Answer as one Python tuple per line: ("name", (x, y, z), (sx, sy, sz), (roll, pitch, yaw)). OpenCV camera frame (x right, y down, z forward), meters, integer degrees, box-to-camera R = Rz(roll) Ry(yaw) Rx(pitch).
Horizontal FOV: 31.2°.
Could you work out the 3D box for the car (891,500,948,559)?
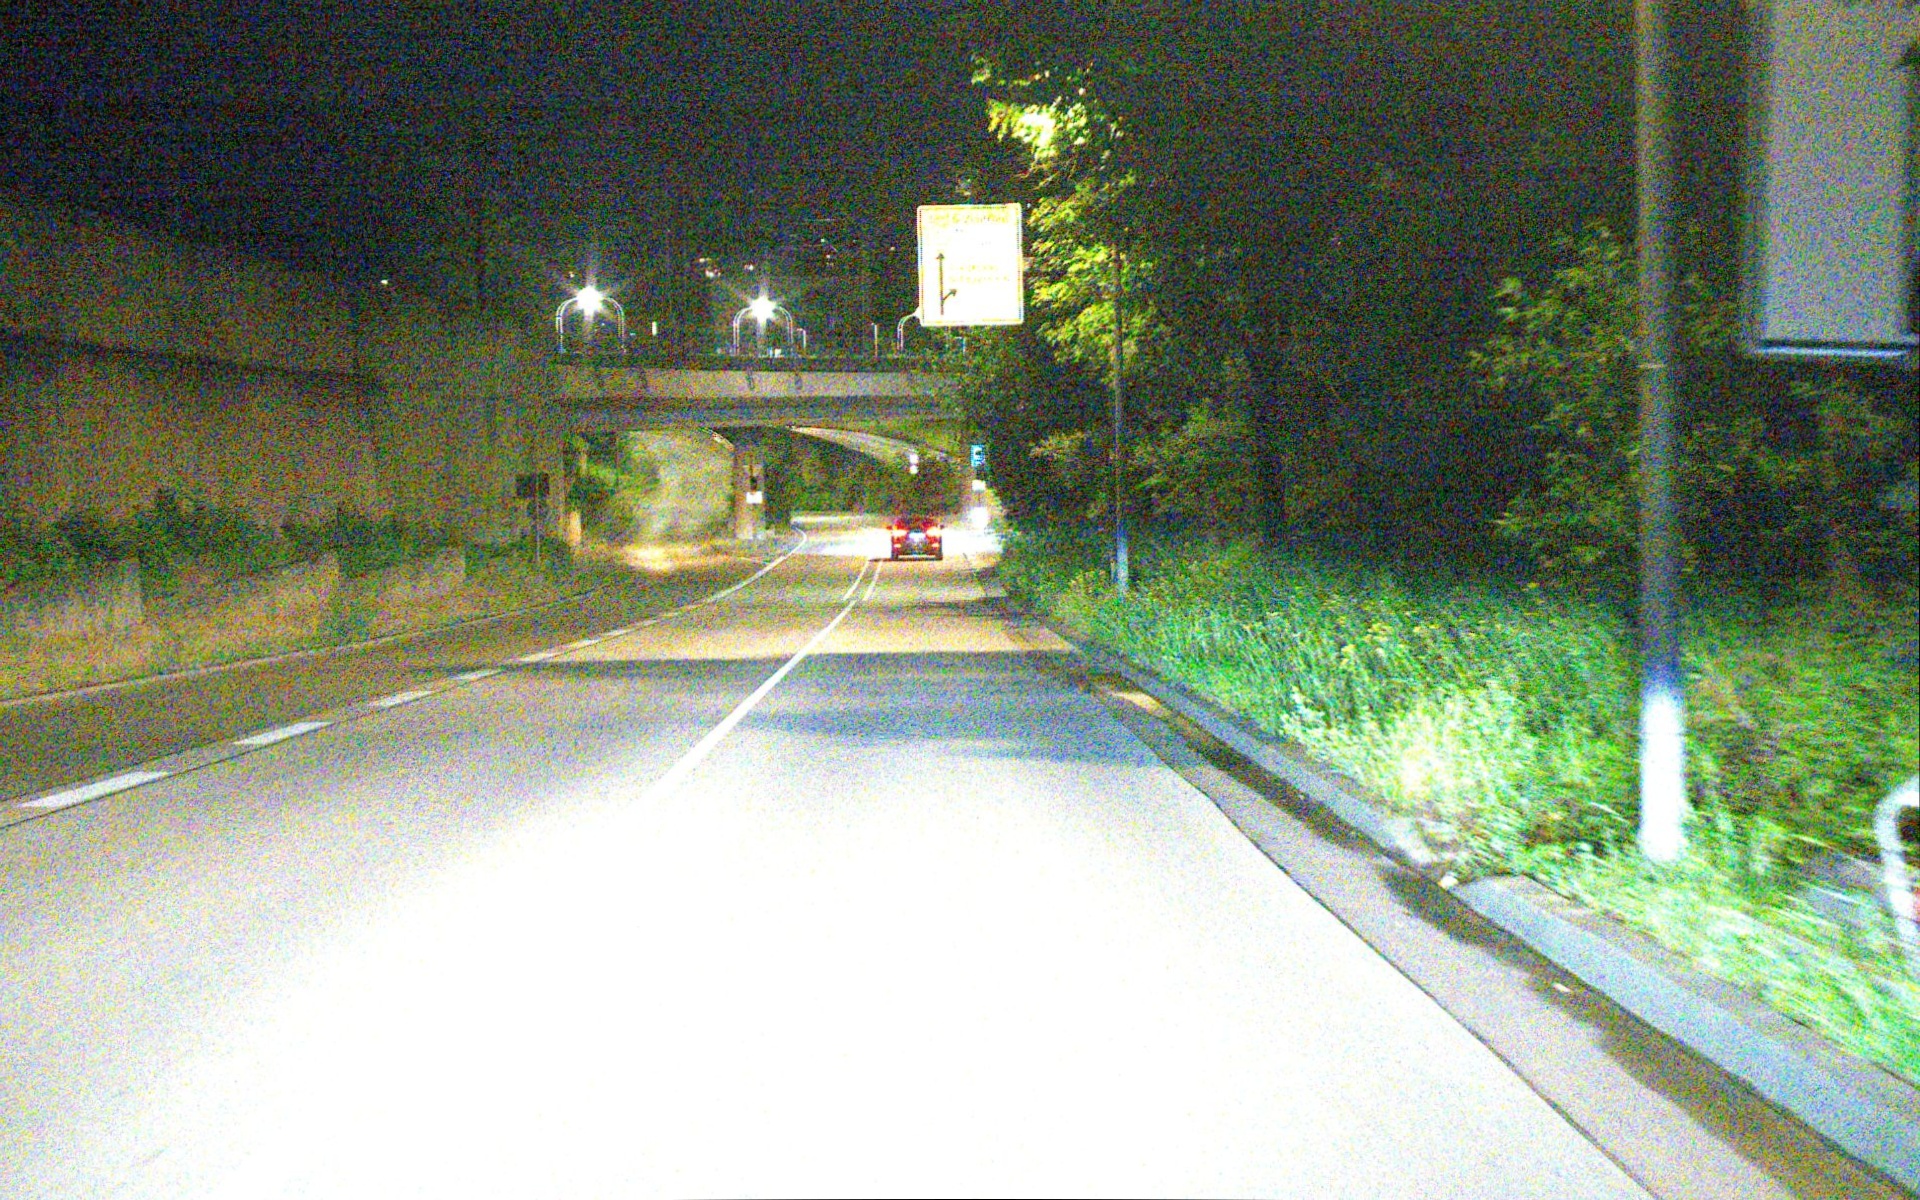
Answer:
("car", (-1.424, -2.464, 121.096), (1.918, 2.007, 4.123), (1, 1, -1))
